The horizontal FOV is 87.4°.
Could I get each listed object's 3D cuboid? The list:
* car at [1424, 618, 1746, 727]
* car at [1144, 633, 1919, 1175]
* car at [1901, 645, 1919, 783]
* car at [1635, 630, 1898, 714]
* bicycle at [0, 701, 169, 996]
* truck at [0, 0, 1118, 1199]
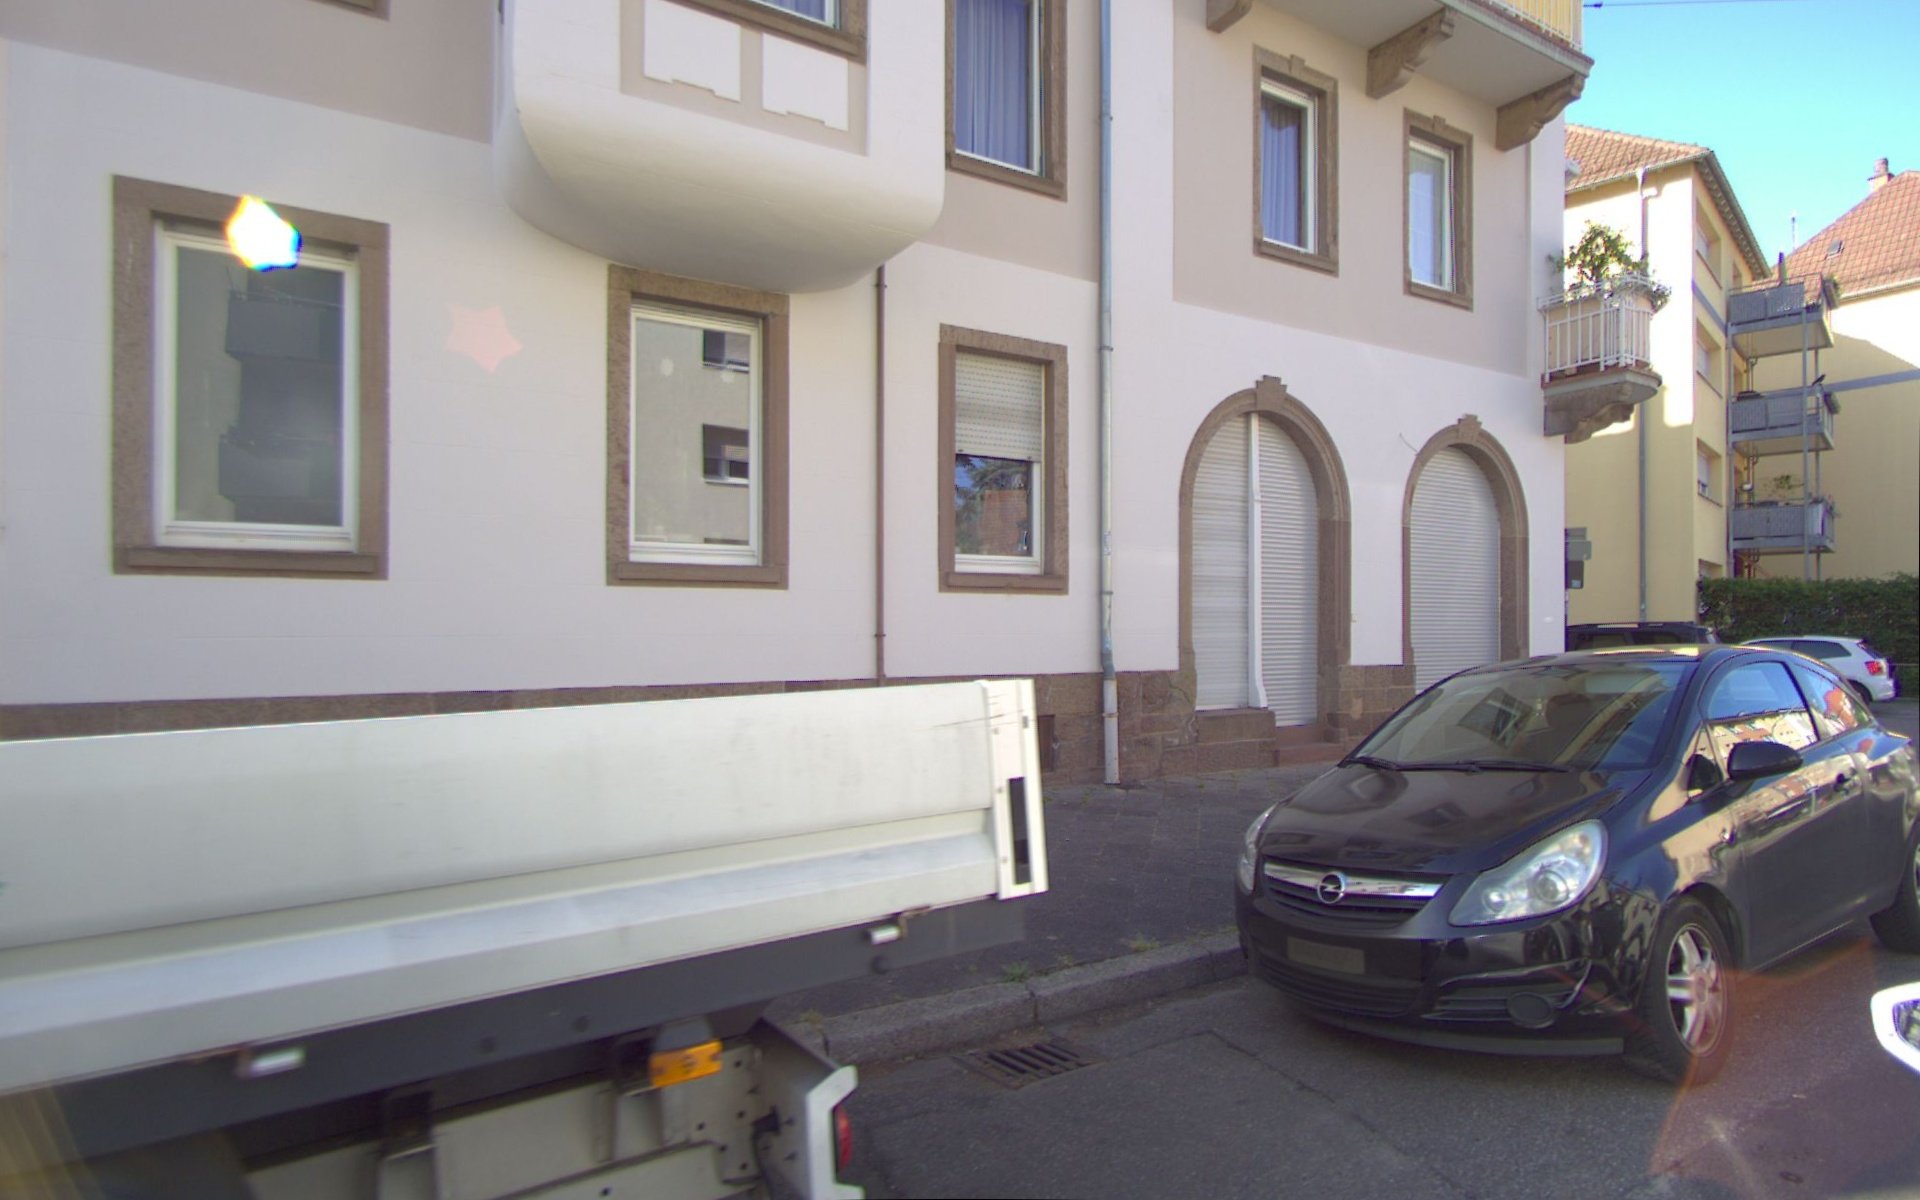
[{"bbox_3d":[10.579,1.195,17.221,4.416,1.636,1.768,-3,-3,42],"label":"car"},{"bbox_3d":[2.925,0.946,4.539,4.037,1.433,1.637,1,-7,-33],"label":"car"},{"bbox_3d":[10.745,1.053,9.423,4.327,1.433,1.695,1,-7,-33],"label":"car"},{"bbox_3d":[15.987,1.413,20.057,3.937,1.498,1.586,-3,-3,43],"label":"car"},{"bbox_3d":[-5.099,1.190,4.540,2.313,1.296,0.567,-1,-2,-31],"label":"bicycle"},{"bbox_3d":[-3.342,0.032,1.066,7.193,3.025,2.248,1,-3,-32],"label":"truck"}]
